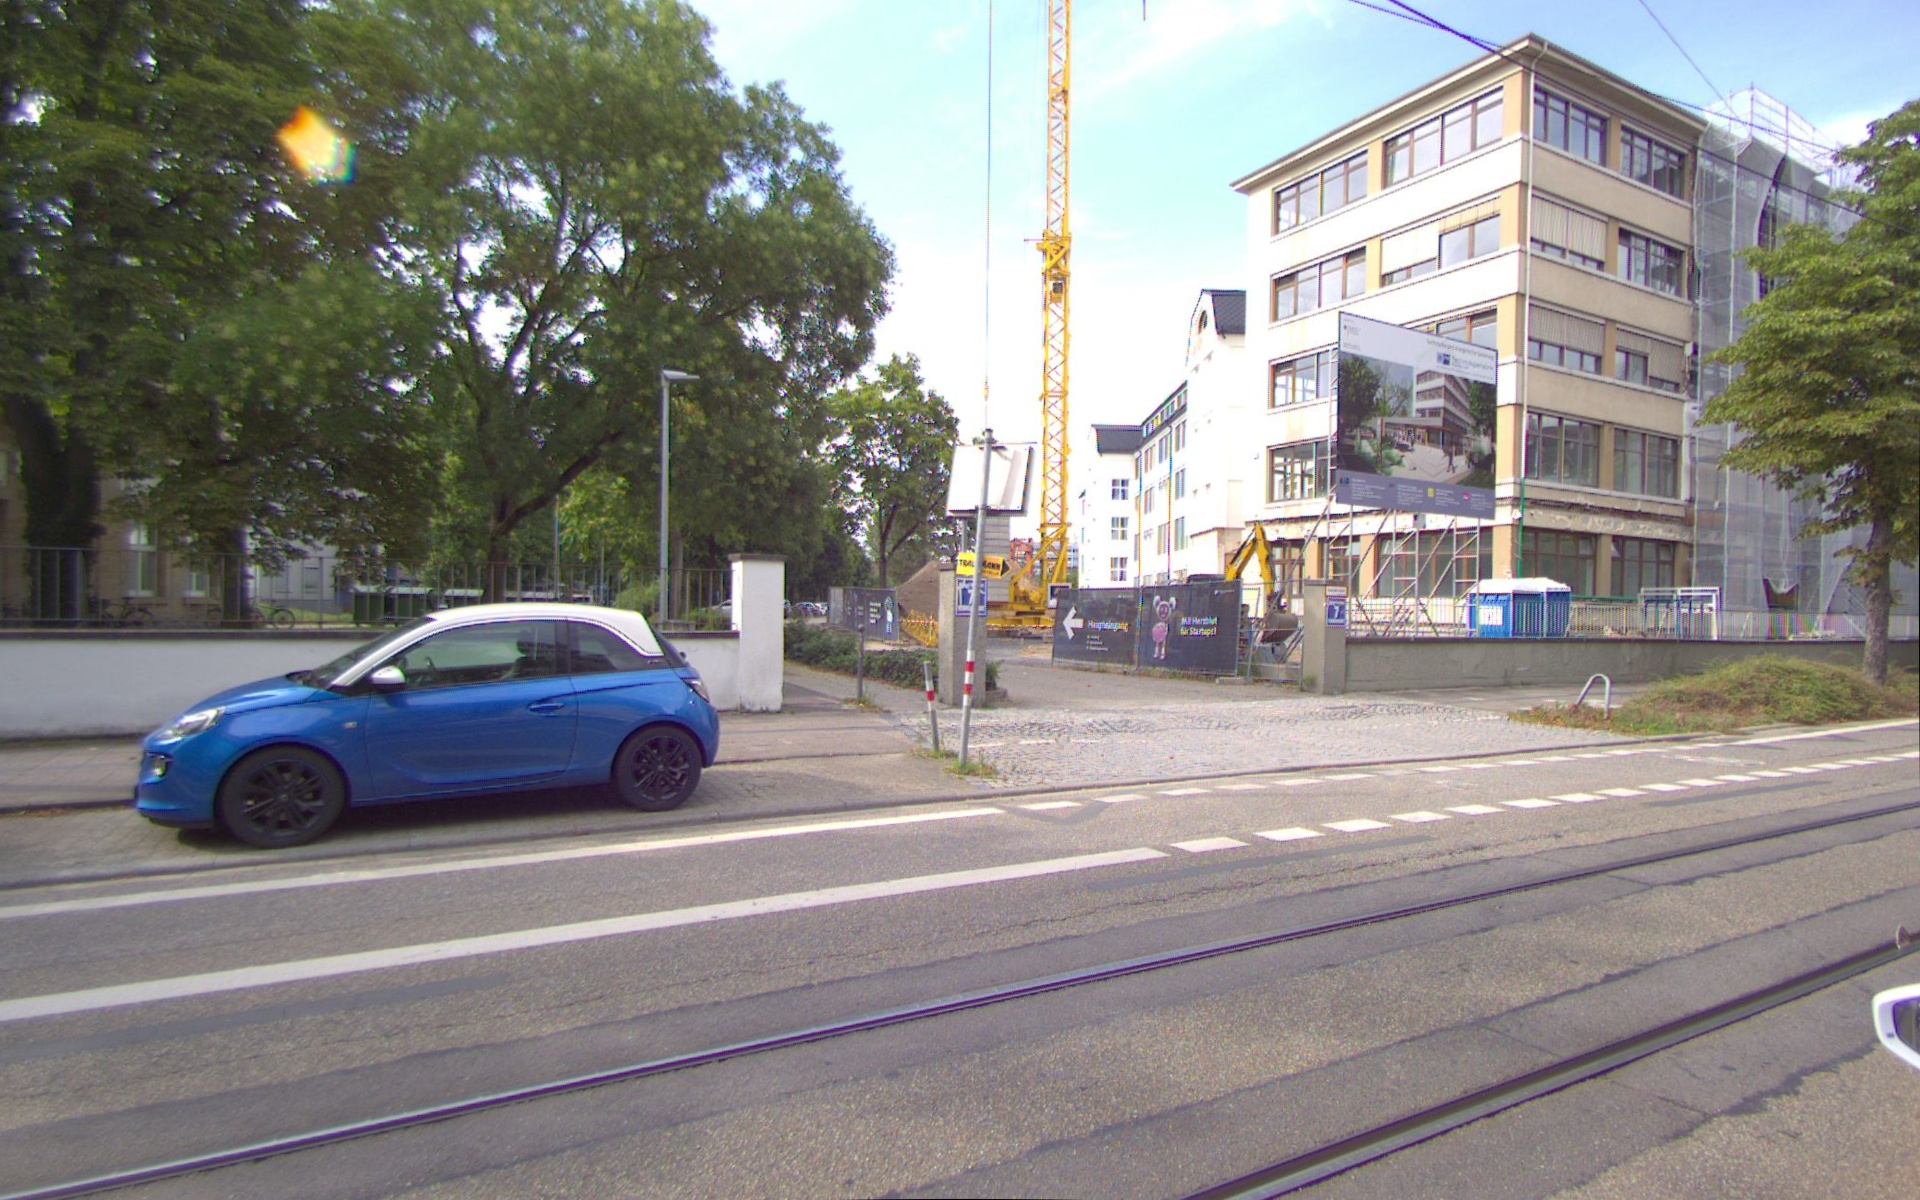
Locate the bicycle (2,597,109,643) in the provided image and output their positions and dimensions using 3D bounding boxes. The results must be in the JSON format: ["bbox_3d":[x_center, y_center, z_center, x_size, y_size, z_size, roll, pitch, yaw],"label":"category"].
[{"bbox_3d":[-21.861,0.478,24.294,1.940,1.057,0.594,1,1,-4],"label":"bicycle"}]

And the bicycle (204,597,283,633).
[{"bbox_3d":[-22.082,0.469,30.993,1.940,1.057,0.594,1,1,-4],"label":"bicycle"}]

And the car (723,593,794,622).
[{"bbox_3d":[-15.184,0.572,75.887,4.965,1.979,1.999,2,0,-4],"label":"car"}]

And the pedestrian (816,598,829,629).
[{"bbox_3d":[-8.218,0.785,60.154,0.736,1.813,0.730,2,0,-7],"label":"pedestrian"}]

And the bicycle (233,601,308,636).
[{"bbox_3d":[-22.203,0.598,32.349,1.940,1.057,0.594,1,1,-4],"label":"bicycle"}]

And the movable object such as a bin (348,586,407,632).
[{"bbox_3d":[-19.377,0.296,33.439,1.259,1.449,1.122,2,0,-2],"label":"movable object such as a bin"}]

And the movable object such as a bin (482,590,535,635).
[{"bbox_3d":[-15.103,0.426,33.629,1.259,1.449,1.122,2,0,-2],"label":"movable object such as a bin"}]

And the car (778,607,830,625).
[{"bbox_3d":[-14.698,1.496,94.798,4.719,1.508,1.997,2,0,-8],"label":"car"}]

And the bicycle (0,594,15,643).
[{"bbox_3d":[-21.835,0.374,21.813,1.940,1.057,0.594,1,1,-4],"label":"bicycle"}]

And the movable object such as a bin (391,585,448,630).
[{"bbox_3d":[-18.014,0.246,33.503,1.259,1.449,1.122,2,0,-2],"label":"movable object such as a bin"}]

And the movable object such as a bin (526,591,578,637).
[{"bbox_3d":[-13.585,0.461,33.465,1.259,1.449,1.122,2,0,-2],"label":"movable object such as a bin"}]

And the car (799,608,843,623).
[{"bbox_3d":[-15.031,1.645,108.882,4.719,1.508,1.997,2,0,-8],"label":"car"}]

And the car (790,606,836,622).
[{"bbox_3d":[-15.509,1.475,105.871,4.719,1.508,1.997,2,0,-8],"label":"car"}]

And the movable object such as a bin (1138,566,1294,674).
[{"bbox_3d":[6.281,0.482,24.987,2.459,2.475,3.048,2,0,-19],"label":"movable object such as a bin"}]

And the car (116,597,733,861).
[{"bbox_3d":[-3.637,0.761,7.303,3.560,1.484,1.620,1,0,-30],"label":"car"}]

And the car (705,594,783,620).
[{"bbox_3d":[-13.832,0.453,64.596,4.719,1.508,1.997,2,0,-8],"label":"car"}]

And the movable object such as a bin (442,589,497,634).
[{"bbox_3d":[-16.441,0.386,33.703,1.259,1.449,1.122,2,0,-2],"label":"movable object such as a bin"}]

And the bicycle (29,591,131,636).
[{"bbox_3d":[-21.946,0.332,25.075,1.940,1.057,0.594,1,1,-4],"label":"bicycle"}]

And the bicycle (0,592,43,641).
[{"bbox_3d":[-21.918,0.354,22.593,1.940,1.057,0.594,1,1,-4],"label":"bicycle"}]

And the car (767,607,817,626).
[{"bbox_3d":[-14.787,1.473,88.651,4.268,1.564,1.751,2,0,-8],"label":"car"}]

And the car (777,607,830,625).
[{"bbox_3d":[-14.315,1.479,91.972,4.719,1.508,1.997,2,0,-8],"label":"car"}]

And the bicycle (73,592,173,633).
[{"bbox_3d":[-22.348,0.330,26.857,1.953,1.057,0.590,1,1,-28],"label":"bicycle"}]

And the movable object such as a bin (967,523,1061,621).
[{"bbox_3d":[4.251,-1.869,75.035,3.781,6.758,10.988,2,0,20],"label":"movable object such as a bin"}]

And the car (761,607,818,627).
[{"bbox_3d":[-14.541,1.443,85.986,4.719,1.508,1.997,2,0,-8],"label":"car"}]
